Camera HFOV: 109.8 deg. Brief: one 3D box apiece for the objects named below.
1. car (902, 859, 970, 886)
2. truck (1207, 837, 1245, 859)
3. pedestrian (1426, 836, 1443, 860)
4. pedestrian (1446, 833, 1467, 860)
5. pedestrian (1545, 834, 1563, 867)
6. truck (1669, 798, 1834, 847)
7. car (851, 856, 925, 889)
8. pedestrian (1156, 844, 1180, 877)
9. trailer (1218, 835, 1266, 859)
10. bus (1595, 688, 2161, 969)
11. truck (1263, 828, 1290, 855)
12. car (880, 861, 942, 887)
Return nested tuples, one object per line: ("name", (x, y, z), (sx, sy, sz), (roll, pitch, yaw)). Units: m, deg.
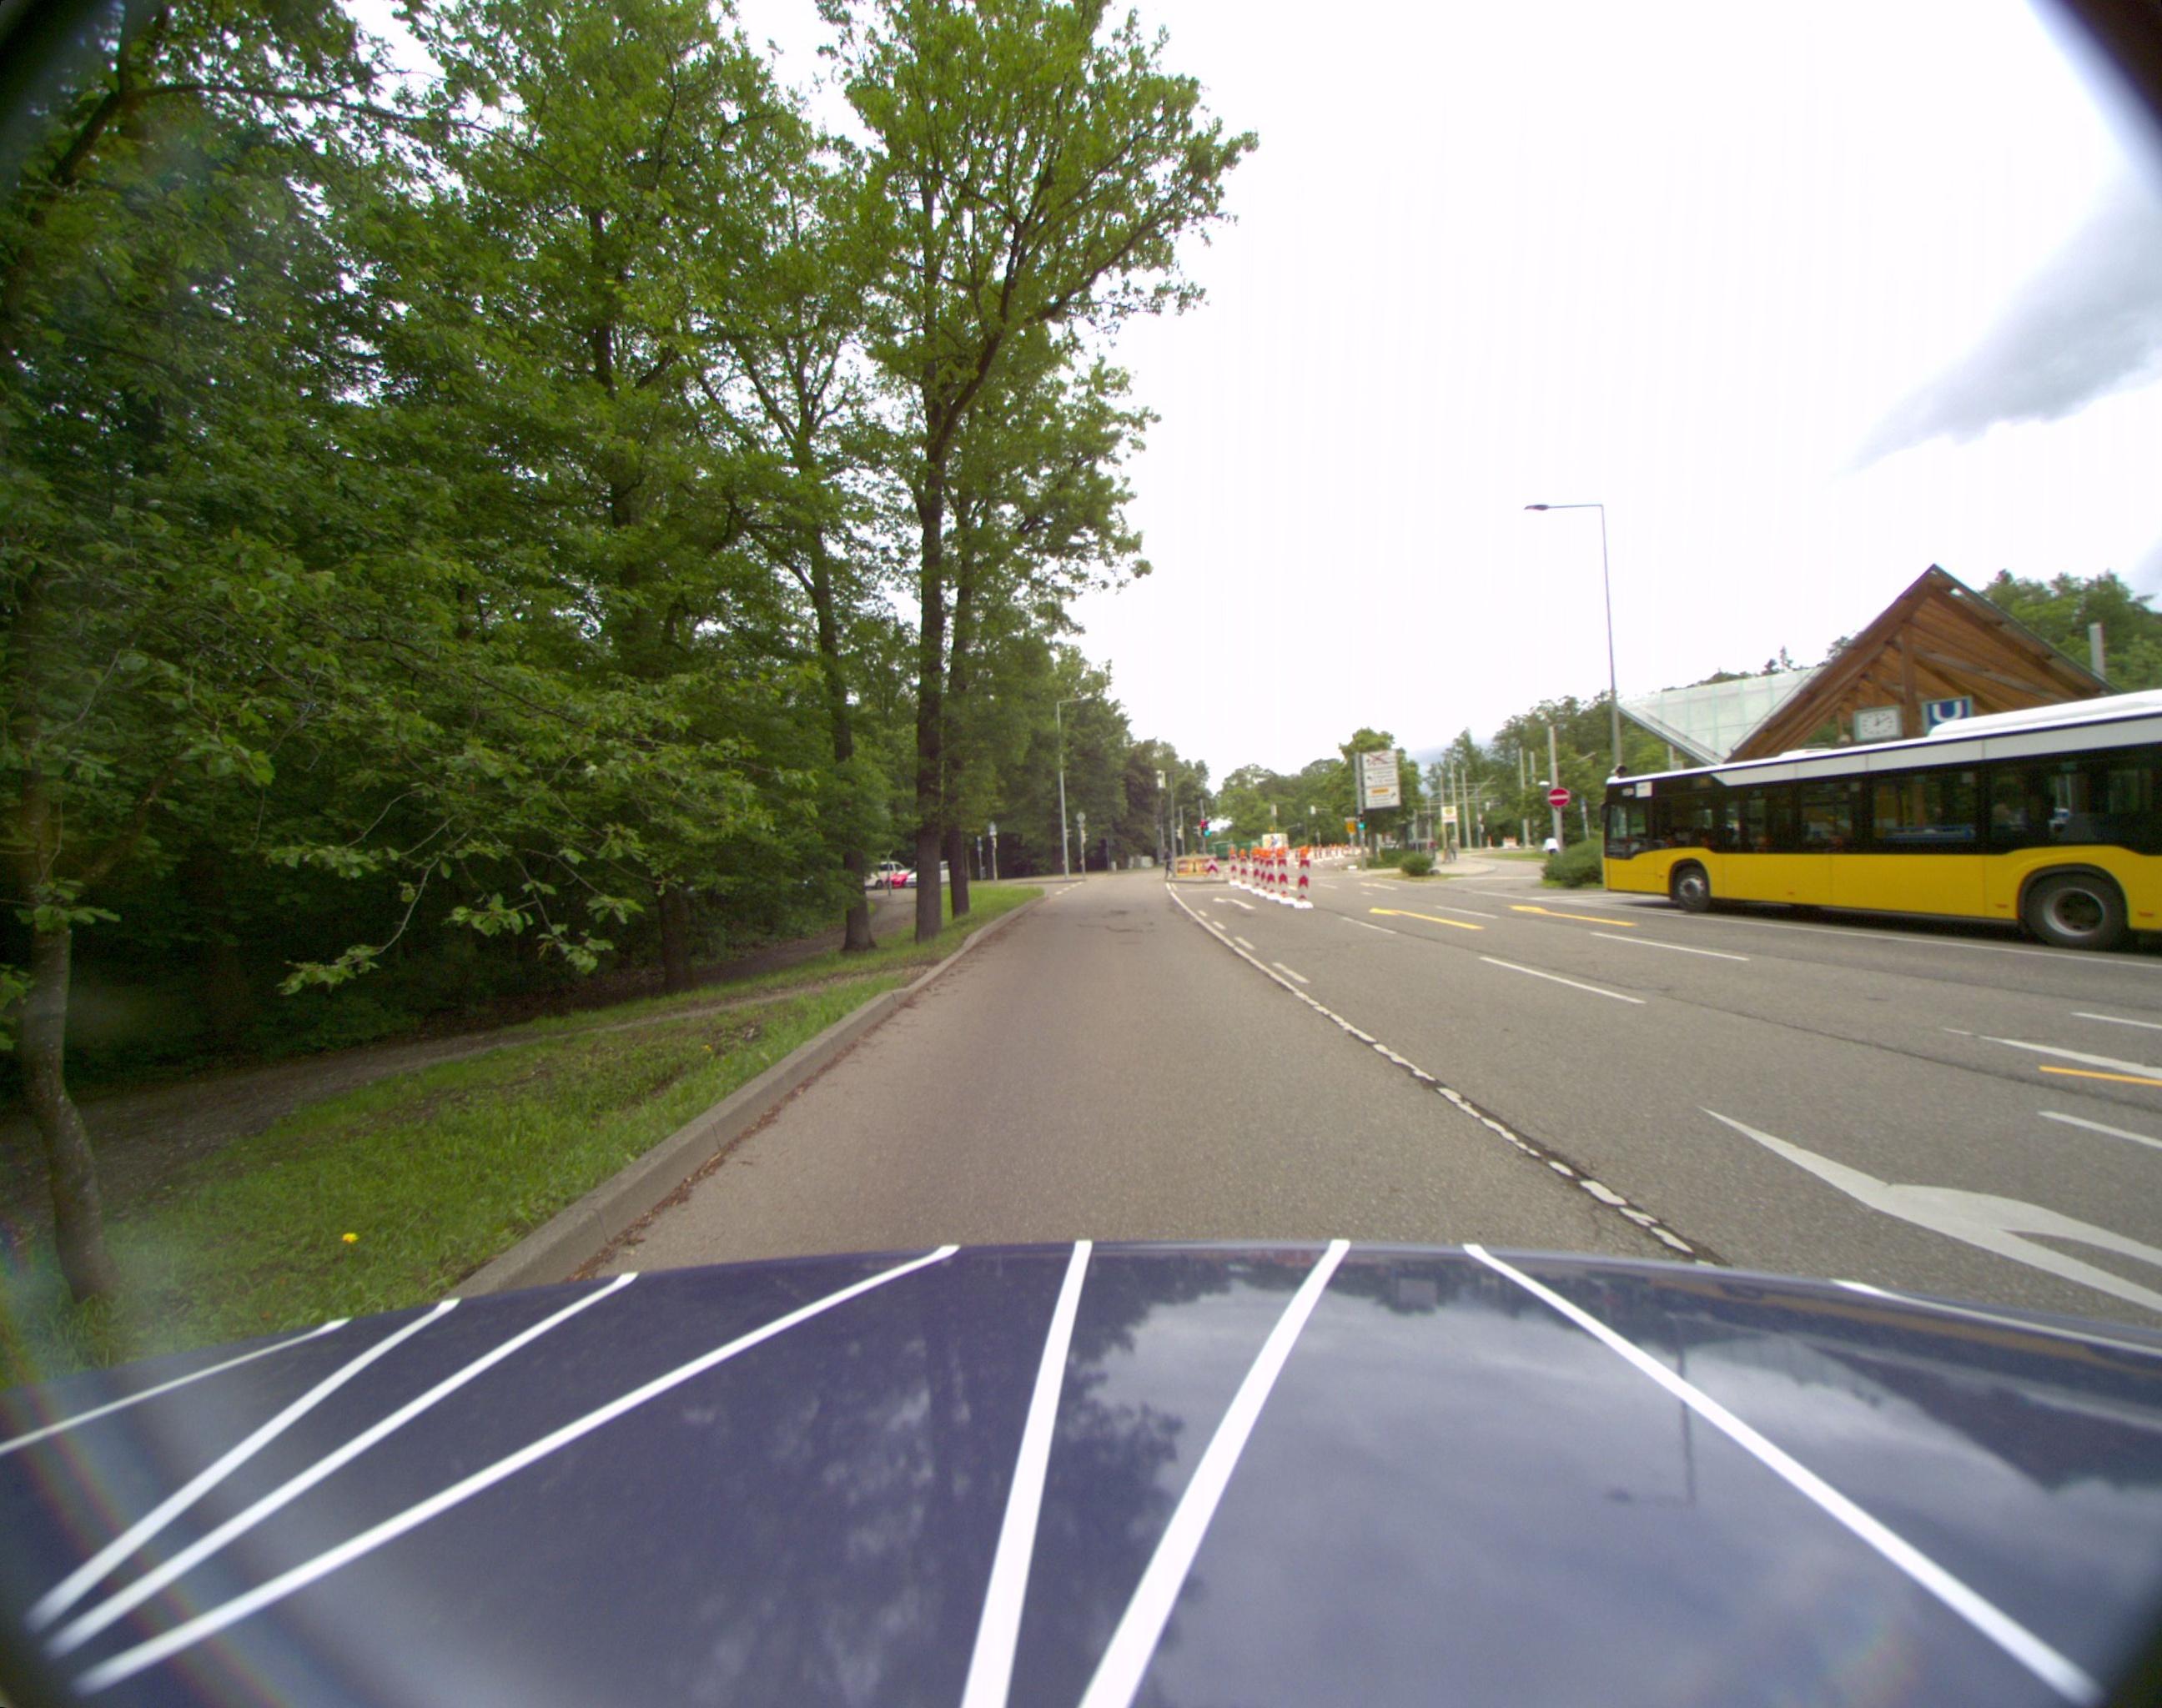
("car", (-10.074, 1.241, 53.069), (1.995, 1.543, 4.429), (-4, -1, 35))
("truck", (28.324, -1.098, 148.758), (3.789, 3.858, 8.763), (-4, 0, -13))
("pedestrian", (24.114, -0.411, 51.843), (0.791, 1.542, 0.776), (-4, 0, 12))
("pedestrian", (22.603, -0.457, 45.783), (0.874, 1.516, 0.769), (-4, 0, 11))
("pedestrian", (22.526, -0.166, 36.190), (0.637, 1.495, 0.632), (-4, 0, 29))
("truck", (36.775, -1.668, 42.007), (2.609, 2.157, 6.295), (-4, 0, -17))
("car", (-14.176, 1.311, 56.071), (2.058, 1.946, 5.191), (-4, 1, 32))
("pedestrian", (5.033, 0.367, 43.883), (0.996, 1.798, 0.764), (-4, 0, -36))
("trailer", (29.890, -1.274, 141.462), (3.789, 3.858, 11.857), (-4, 0, -13))
("bus", (13.483, -0.352, 12.964), (2.906, 3.109, 9.759), (-2, 0, 1))
("truck", (25.040, -1.553, 96.914), (2.631, 3.219, 6.215), (-1, 1, 20))
("car", (-12.100, 1.401, 54.374), (1.890, 1.543, 4.007), (-4, 0, 35))
